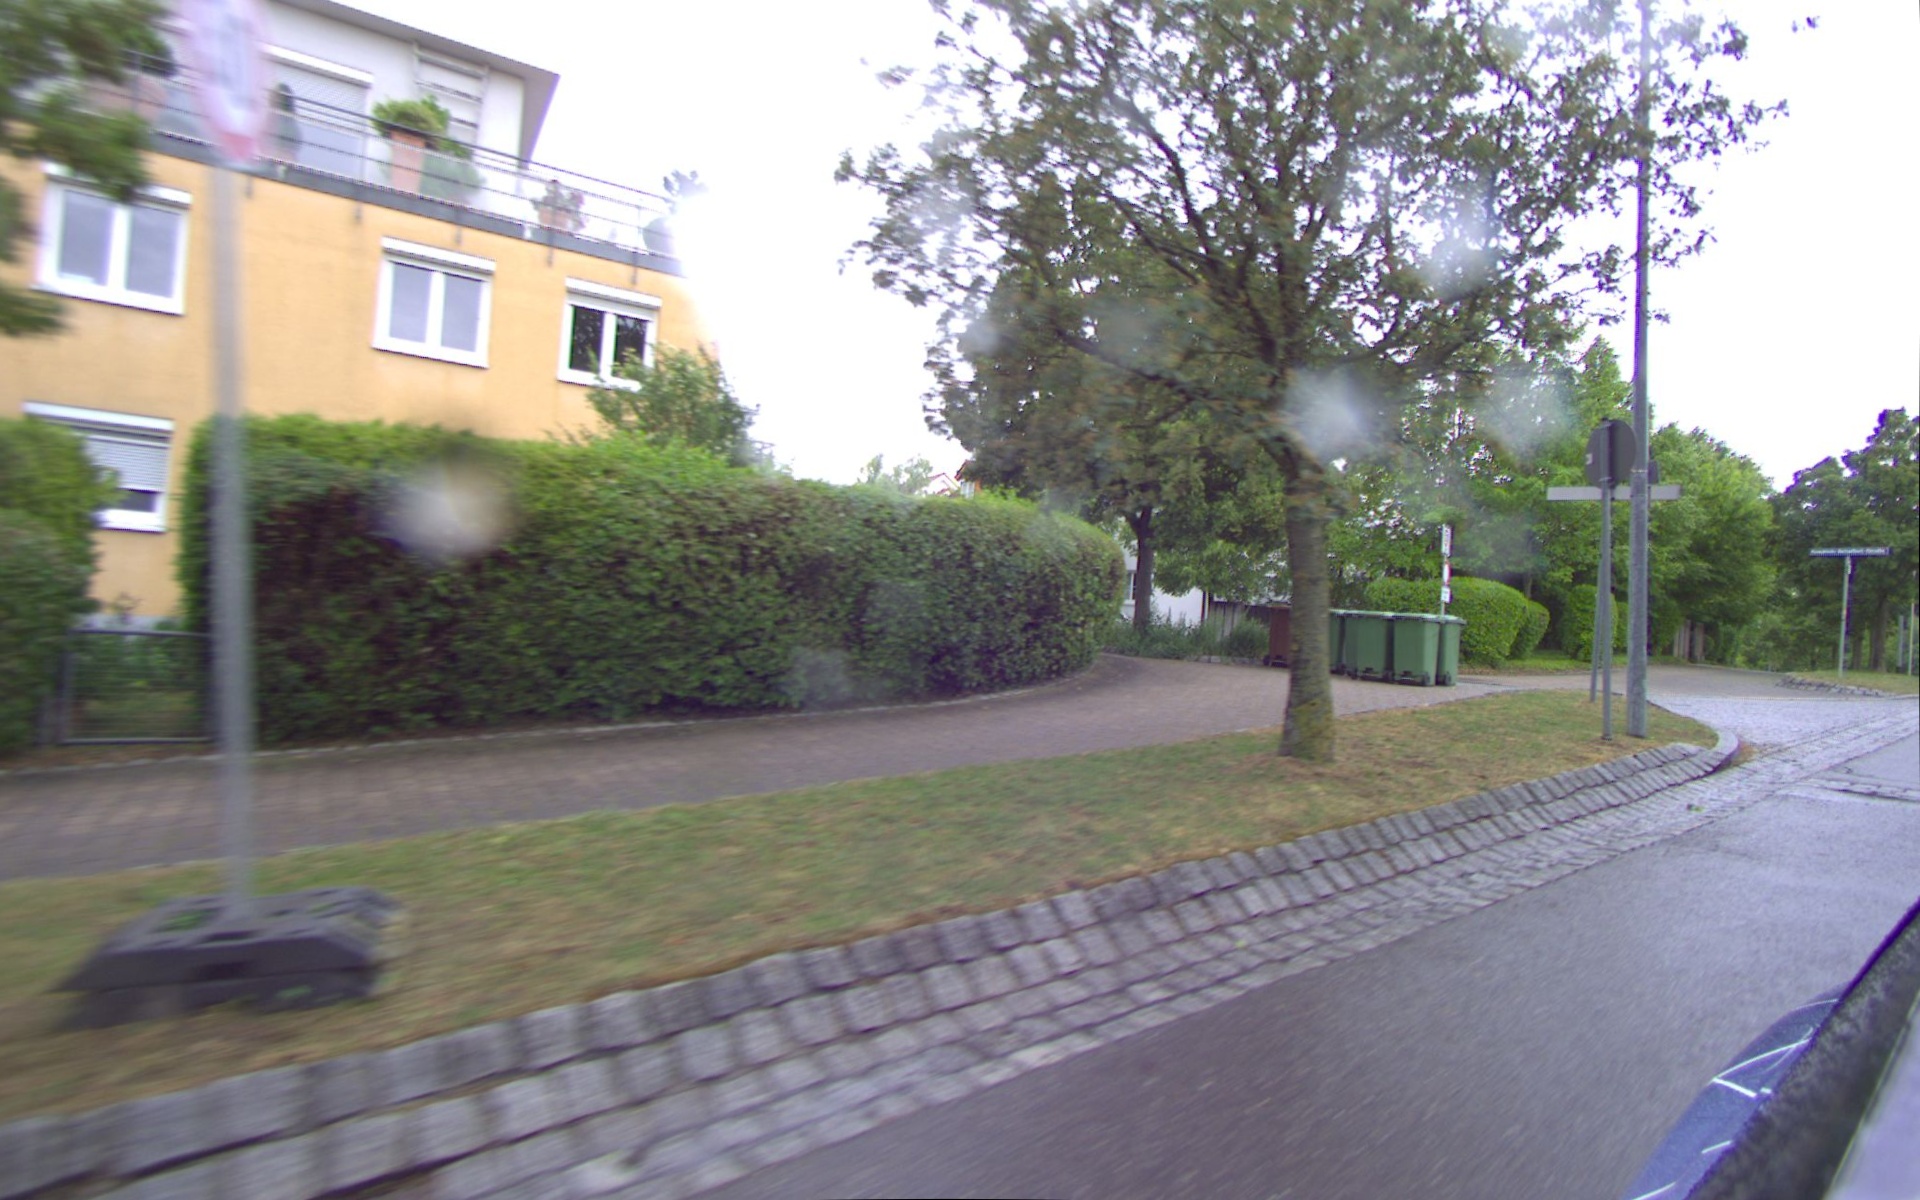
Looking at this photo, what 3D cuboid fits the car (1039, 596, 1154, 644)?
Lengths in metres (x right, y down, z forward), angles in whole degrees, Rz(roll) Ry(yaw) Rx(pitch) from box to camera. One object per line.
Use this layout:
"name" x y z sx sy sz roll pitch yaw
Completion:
"car" 5.129 0.760 38.011 3.917 1.685 1.782 2 0 -26

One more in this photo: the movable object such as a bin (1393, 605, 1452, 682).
"movable object such as a bin" 6.894 0.641 15.082 0.655 1.087 0.543 3 -1 -41

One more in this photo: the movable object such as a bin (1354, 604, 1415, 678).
"movable object such as a bin" 6.532 0.625 15.580 0.684 1.086 0.597 3 -1 -41

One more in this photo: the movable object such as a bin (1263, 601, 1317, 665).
"movable object such as a bin" 5.766 0.573 17.677 0.684 1.068 0.604 3 -1 -41

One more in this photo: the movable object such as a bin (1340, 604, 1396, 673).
"movable object such as a bin" 6.661 0.622 16.515 0.684 1.080 0.578 3 -1 -41

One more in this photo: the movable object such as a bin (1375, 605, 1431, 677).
"movable object such as a bin" 7.037 0.645 16.075 0.684 1.088 0.543 3 -1 -41

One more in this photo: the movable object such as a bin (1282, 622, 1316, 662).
"movable object such as a bin" 8.446 1.048 25.222 0.560 0.943 0.531 4 -2 -28

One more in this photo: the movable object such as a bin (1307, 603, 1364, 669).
"movable object such as a bin" 6.329 0.608 17.054 0.684 1.068 0.604 3 -1 -41

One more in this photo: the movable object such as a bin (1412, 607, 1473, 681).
"movable object such as a bin" 7.443 0.671 15.611 0.684 1.088 0.601 3 -1 -41
